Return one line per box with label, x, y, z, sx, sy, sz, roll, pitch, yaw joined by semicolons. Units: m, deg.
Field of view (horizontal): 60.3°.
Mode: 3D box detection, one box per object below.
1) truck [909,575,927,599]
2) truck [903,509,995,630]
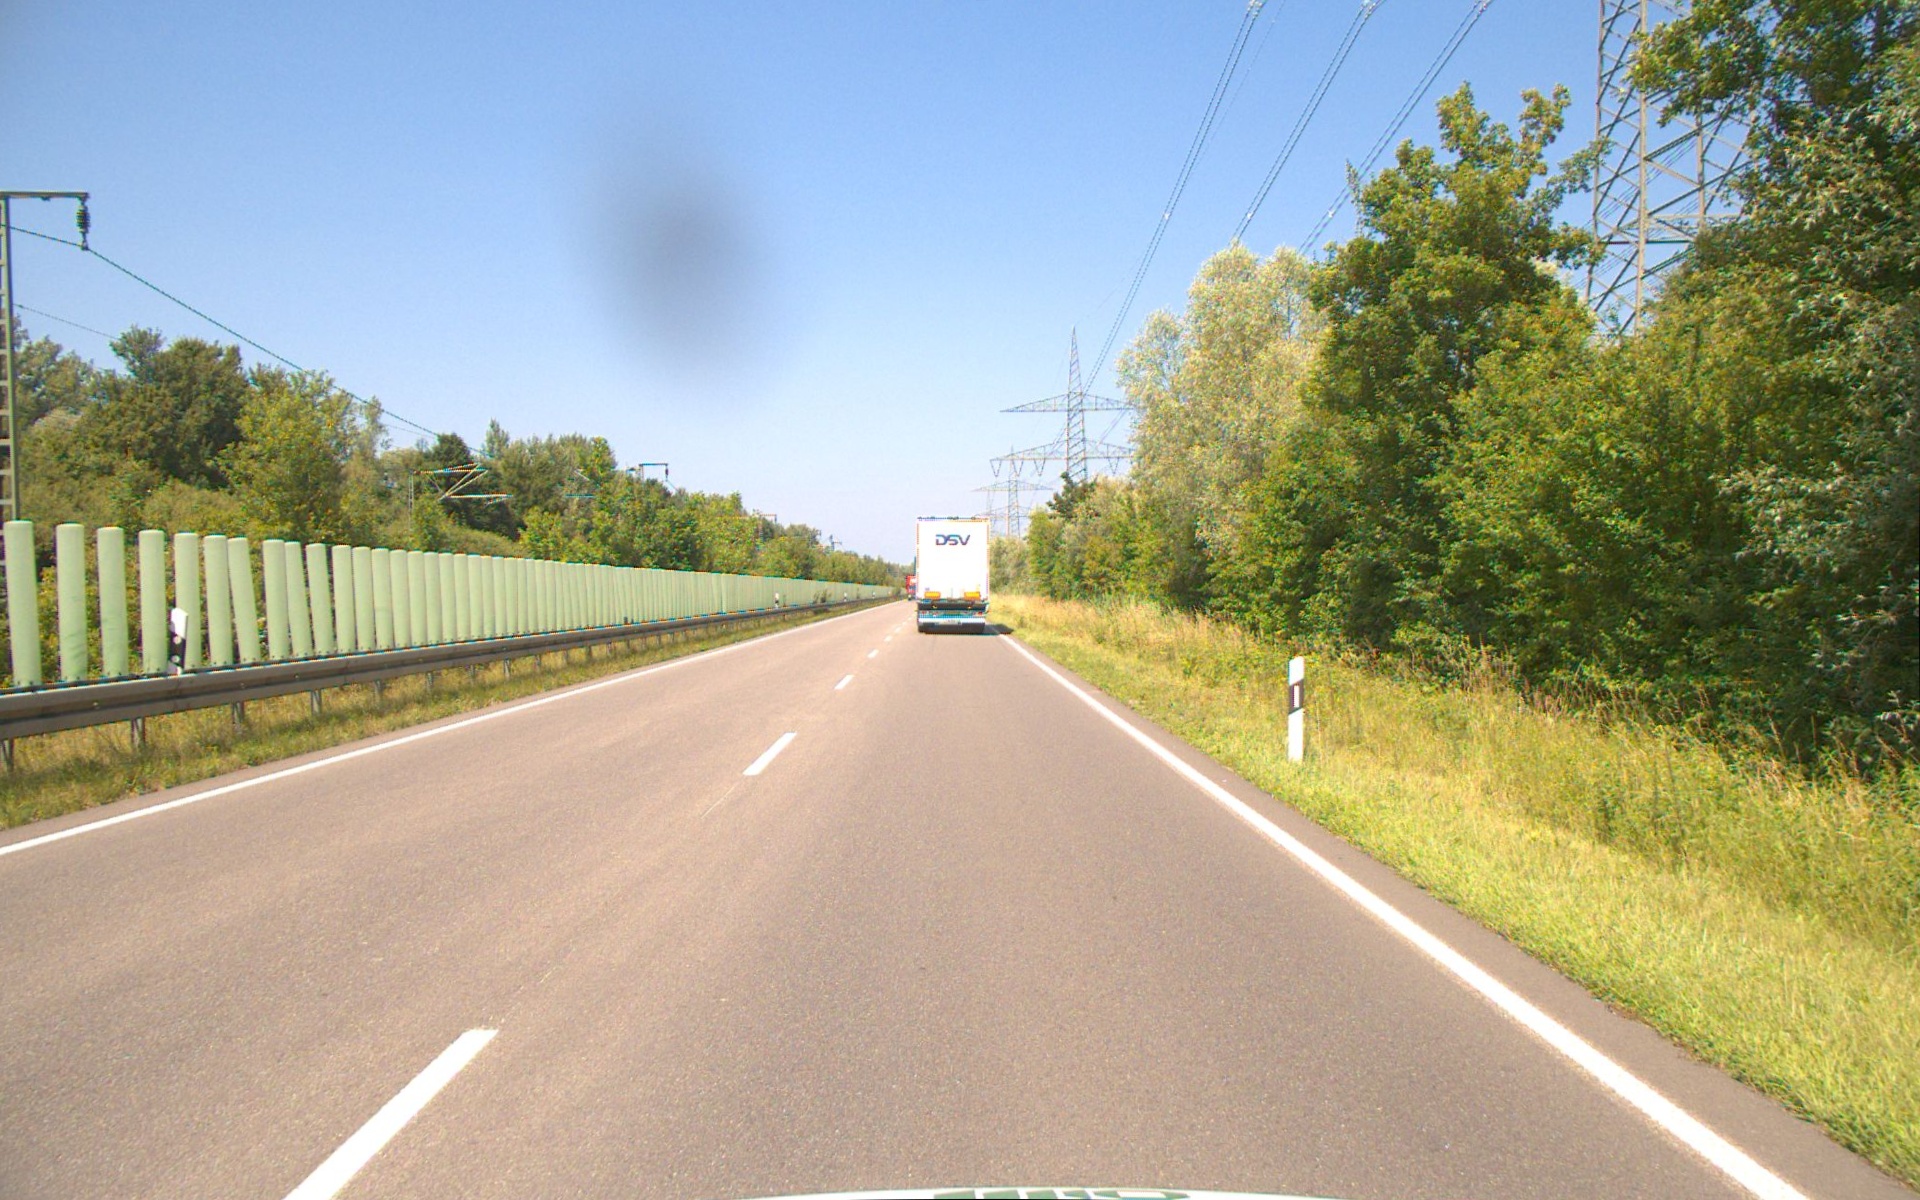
truck;-6.467;-2.010;256.274;2.678;3.662;9.524;0;0;-1
truck;-0.503;-1.082;62.104;3.127;4.113;12.004;0;0;-1
